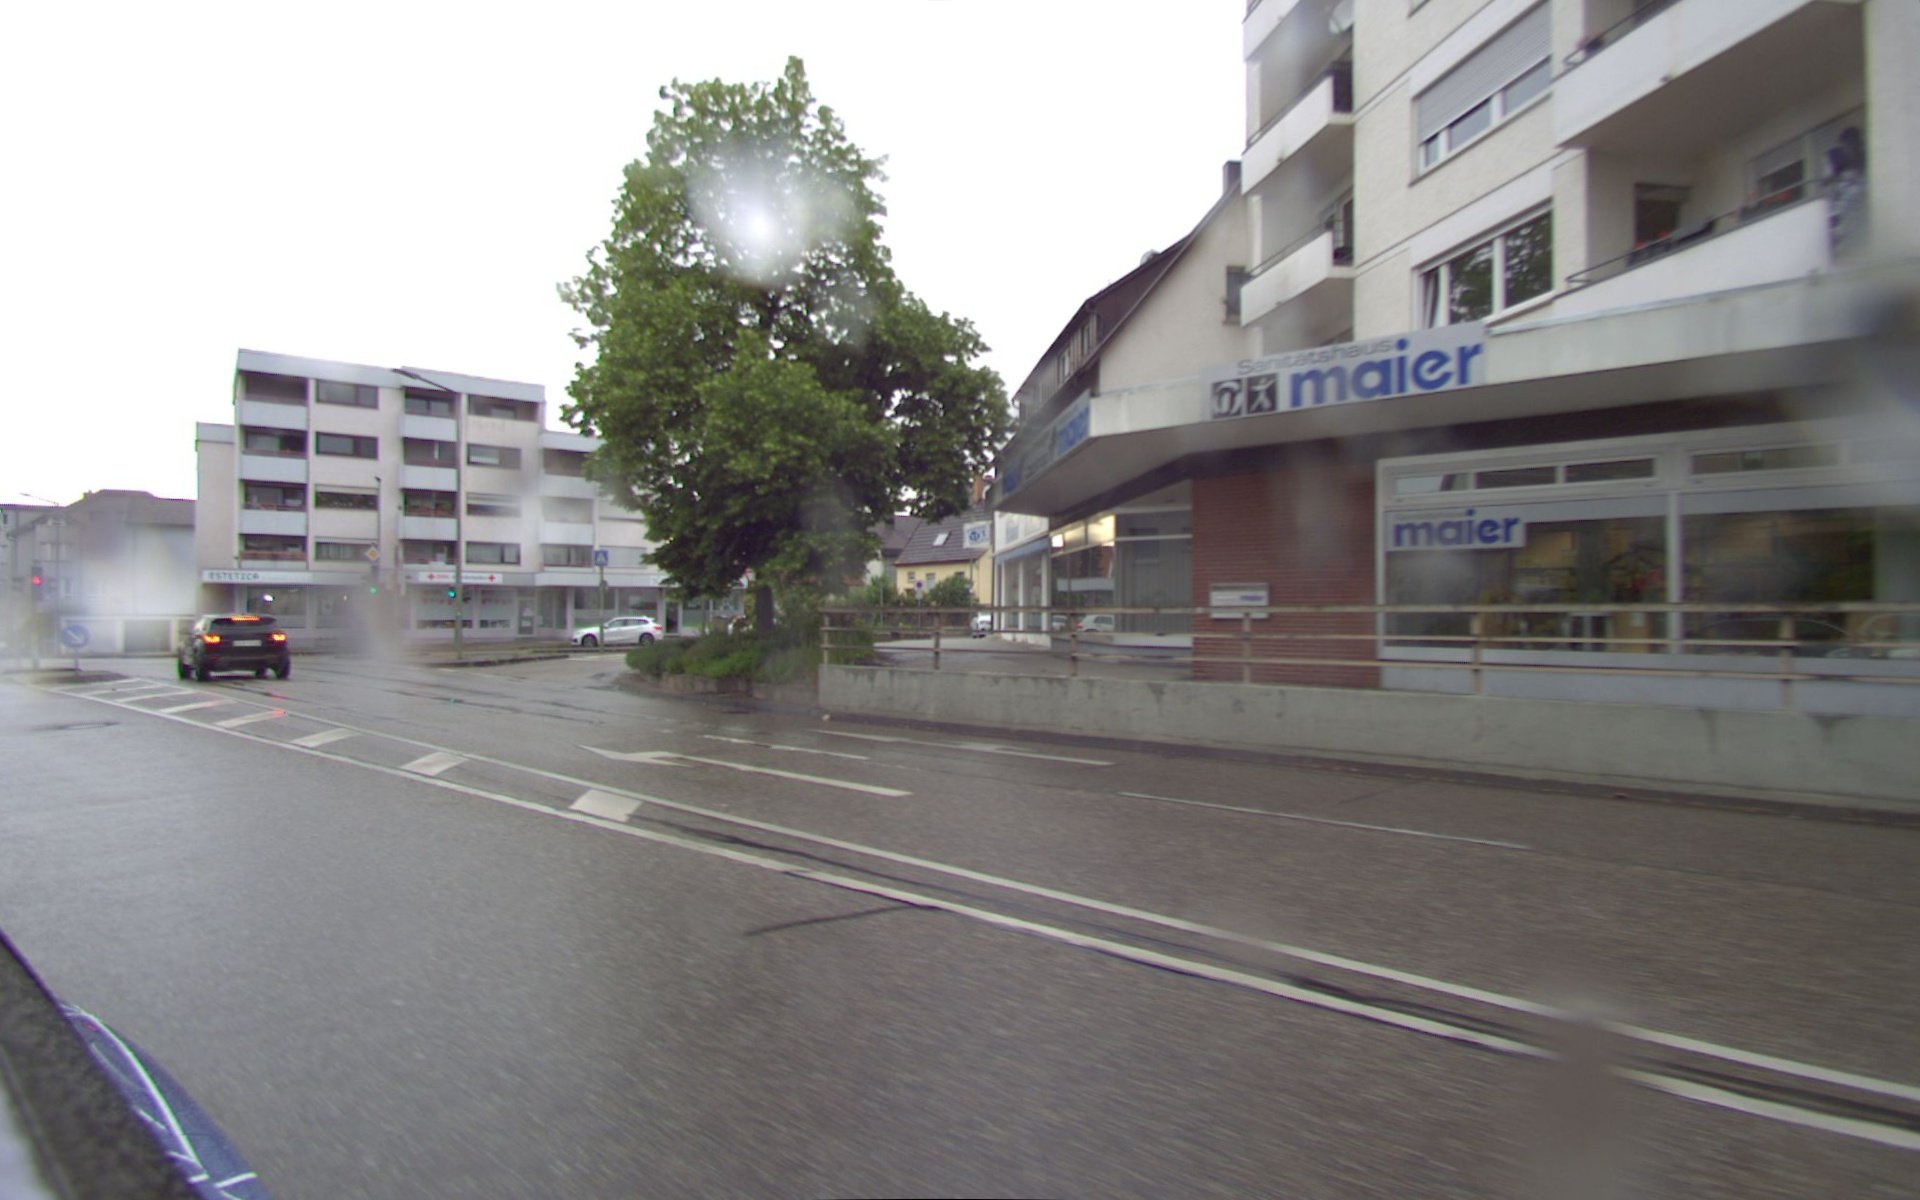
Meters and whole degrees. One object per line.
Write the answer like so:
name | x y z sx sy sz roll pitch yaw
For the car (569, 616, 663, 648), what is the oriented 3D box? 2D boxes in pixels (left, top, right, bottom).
car | -16.714 1.549 49.374 4.215 1.445 1.840 -1 -1 -14

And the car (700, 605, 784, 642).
car | -10.987 1.175 50.935 3.851 1.746 1.841 -1 -1 -22

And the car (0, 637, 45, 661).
car | -71.612 3.653 74.927 5.386 1.697 2.154 -1 -1 -29

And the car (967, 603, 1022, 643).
car | 1.384 0.930 42.331 1.971 1.537 4.002 -1 -1 -2

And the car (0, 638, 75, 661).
car | -67.140 3.552 73.181 1.930 1.508 4.560 -2 -2 44

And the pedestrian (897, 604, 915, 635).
pedestrian | -3.292 1.206 61.704 0.713 1.872 0.851 -1 -1 -37

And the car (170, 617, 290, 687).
car | -18.350 1.273 25.365 1.782 1.569 4.320 -1 -1 -45
